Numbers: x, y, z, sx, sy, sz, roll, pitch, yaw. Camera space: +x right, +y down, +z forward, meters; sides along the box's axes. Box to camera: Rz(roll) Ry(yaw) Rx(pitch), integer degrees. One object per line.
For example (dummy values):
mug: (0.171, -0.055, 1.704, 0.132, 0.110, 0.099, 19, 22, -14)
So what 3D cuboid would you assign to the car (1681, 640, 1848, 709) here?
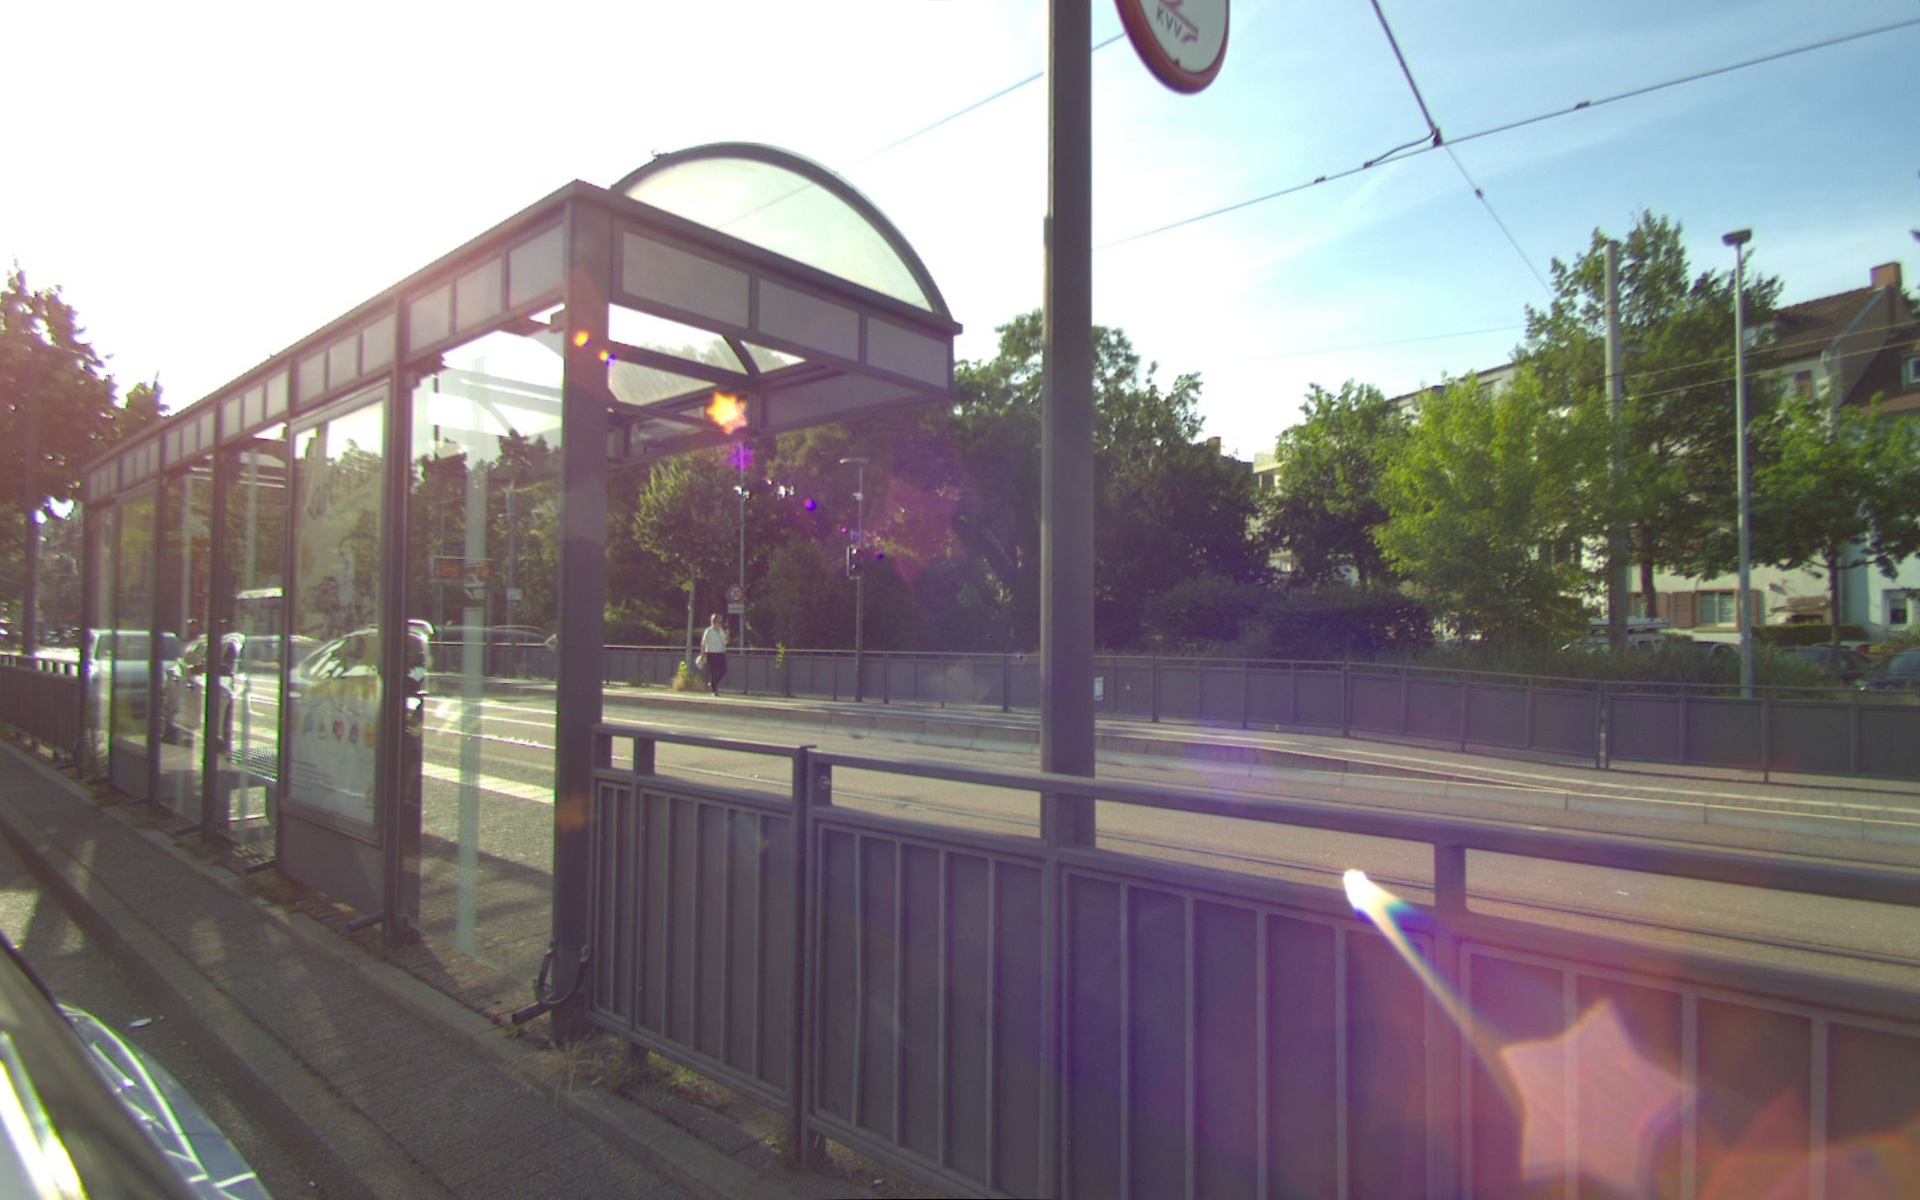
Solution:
car: (18.184, 1.623, 22.838, 3.935, 1.409, 2.004, 2, -3, -37)

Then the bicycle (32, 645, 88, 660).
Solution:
bicycle: (-65.206, 3.796, 73.347, 0.878, 0.988, 2.925, -2, -3, 38)

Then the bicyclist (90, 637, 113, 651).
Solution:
bicyclist: (-61.806, 3.173, 72.868, 0.671, 1.032, 1.200, -2, -3, 44)

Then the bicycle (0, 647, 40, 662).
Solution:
bicycle: (-63.773, 3.647, 67.876, 0.878, 0.988, 2.925, -2, -3, 38)

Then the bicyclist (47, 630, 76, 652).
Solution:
bicyclist: (-65.186, 2.975, 73.412, 0.887, 1.559, 1.384, -2, -3, 39)

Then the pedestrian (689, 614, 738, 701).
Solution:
pedestrian: (-4.962, 1.152, 20.358, 0.618, 1.697, 0.613, -2, -6, 41)

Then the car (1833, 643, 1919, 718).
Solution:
car: (19.636, 1.600, 20.611, 3.935, 1.409, 2.004, 2, -3, -37)

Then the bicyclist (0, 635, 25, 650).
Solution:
bicyclist: (-63.794, 2.867, 67.928, 0.887, 1.014, 1.384, -2, -3, 39)

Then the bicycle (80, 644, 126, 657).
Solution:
bicycle: (-61.741, 3.636, 72.920, 0.631, 0.888, 2.502, -2, -3, 45)

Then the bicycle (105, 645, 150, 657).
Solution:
bicycle: (-61.534, 3.769, 74.832, 0.631, 0.888, 2.502, -2, -3, 45)

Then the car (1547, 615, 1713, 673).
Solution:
car: (18.169, 1.197, 27.465, 3.930, 1.497, 1.854, 1, -3, -22)

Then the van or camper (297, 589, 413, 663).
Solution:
van or camper: (-26.300, 1.062, 43.852, 6.408, 2.990, 2.494, -1, 0, 41)

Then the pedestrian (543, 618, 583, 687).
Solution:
pedestrian: (-10.003, 1.330, 25.529, 0.618, 1.697, 0.613, -2, -6, 41)

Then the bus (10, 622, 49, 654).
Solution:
bus: (-107.941, 4.336, 117.317, 9.258, 3.461, 2.405, -1, 0, 41)

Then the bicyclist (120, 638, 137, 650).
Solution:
bicyclist: (-61.493, 3.259, 74.859, 0.617, 0.920, 0.885, -2, -3, 44)
